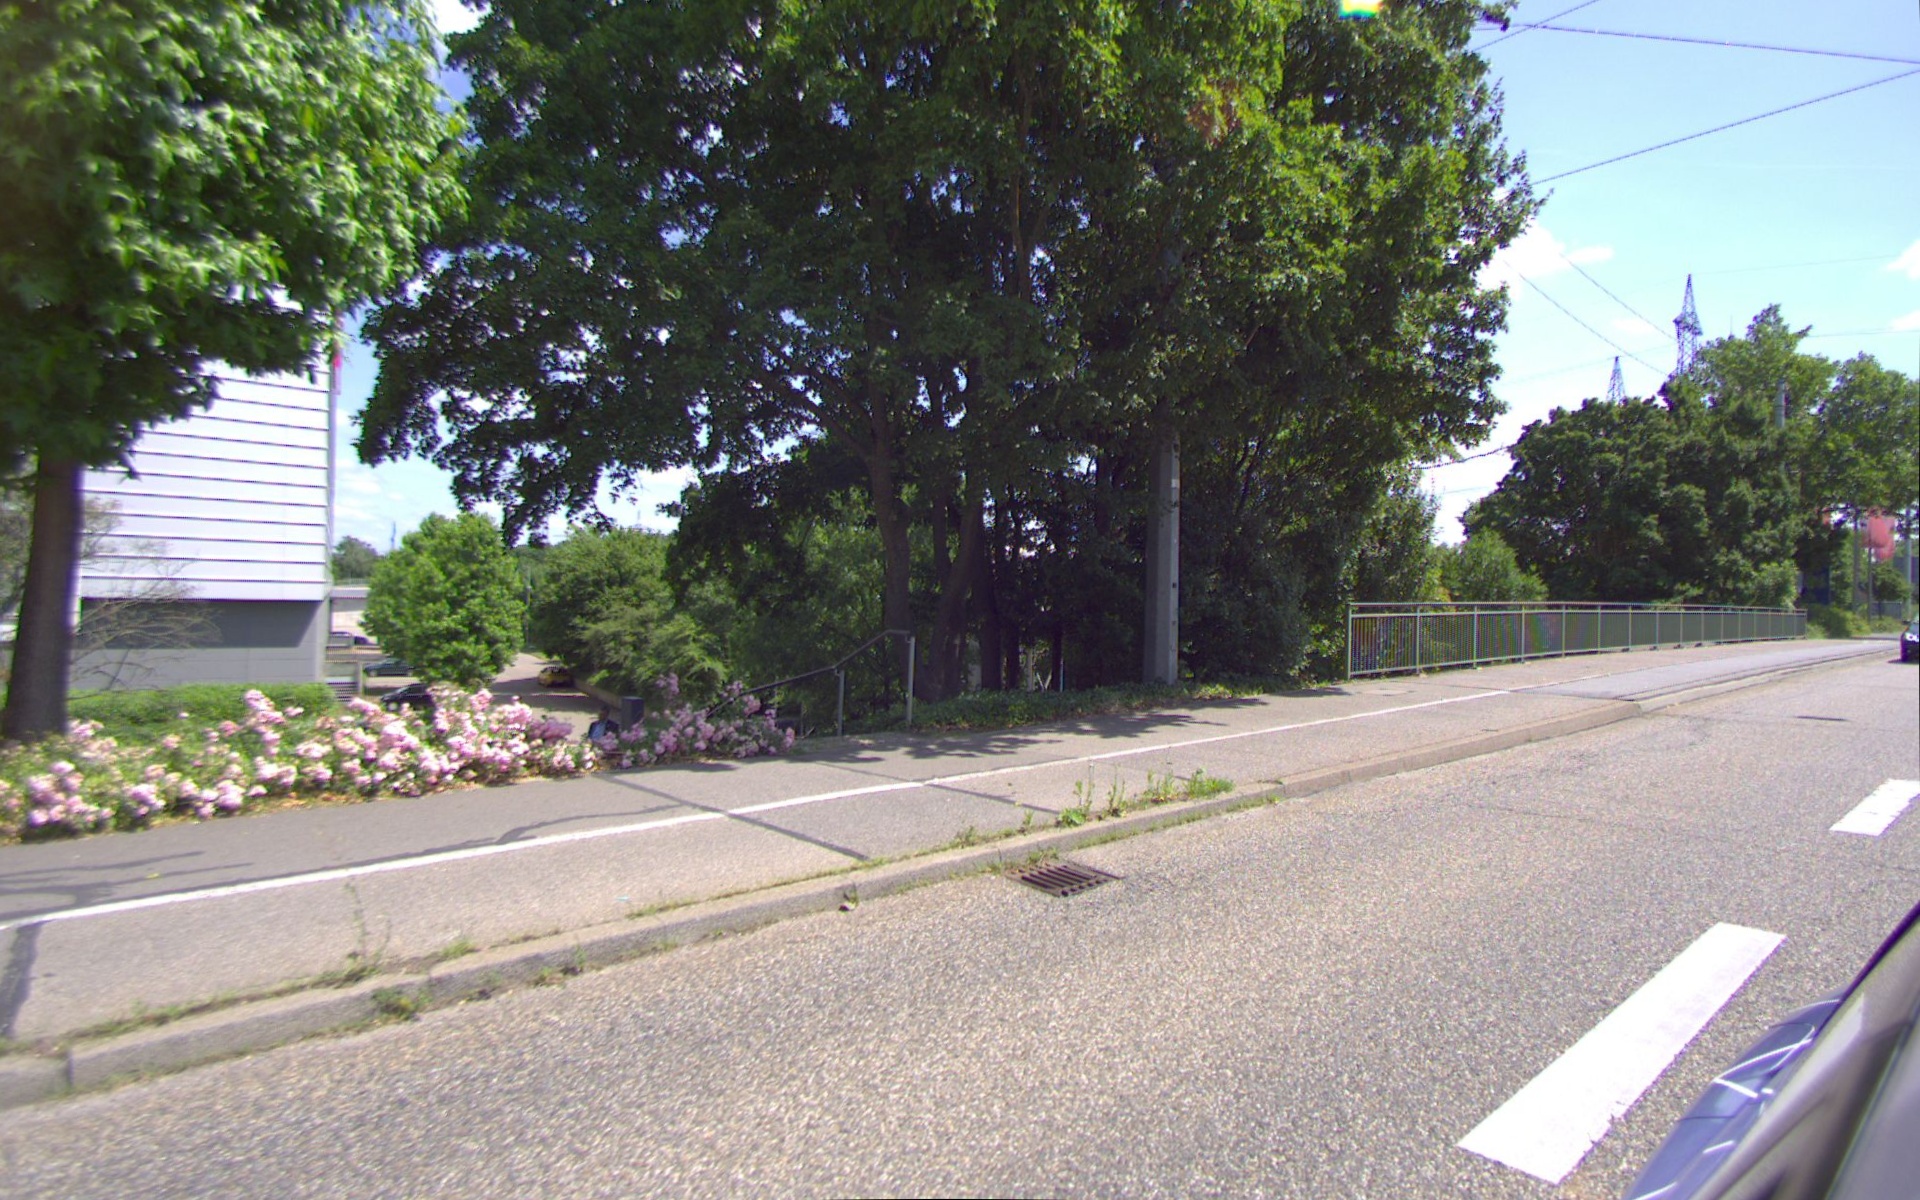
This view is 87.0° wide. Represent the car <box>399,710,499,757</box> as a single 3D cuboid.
[{"bbox_3d":[-21.712,5.634,43.050,3.554,1.622,1.704,0,-3,-38],"label":"car"}]

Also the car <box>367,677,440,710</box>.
[{"bbox_3d":[-31.811,5.334,57.869,3.551,1.622,1.706,0,-3,-34],"label":"car"}]

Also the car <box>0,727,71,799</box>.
[{"bbox_3d":[-26.649,4.619,29.040,1.517,1.536,3.372,0,-1,-39],"label":"car"}]

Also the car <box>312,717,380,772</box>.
[{"bbox_3d":[-20.915,4.860,34.427,1.565,1.360,3.372,0,-1,-39],"label":"car"}]

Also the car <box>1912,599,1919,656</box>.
[{"bbox_3d":[26.481,0.741,26.641,3.931,1.449,1.769,1,-1,-42],"label":"car"}]
